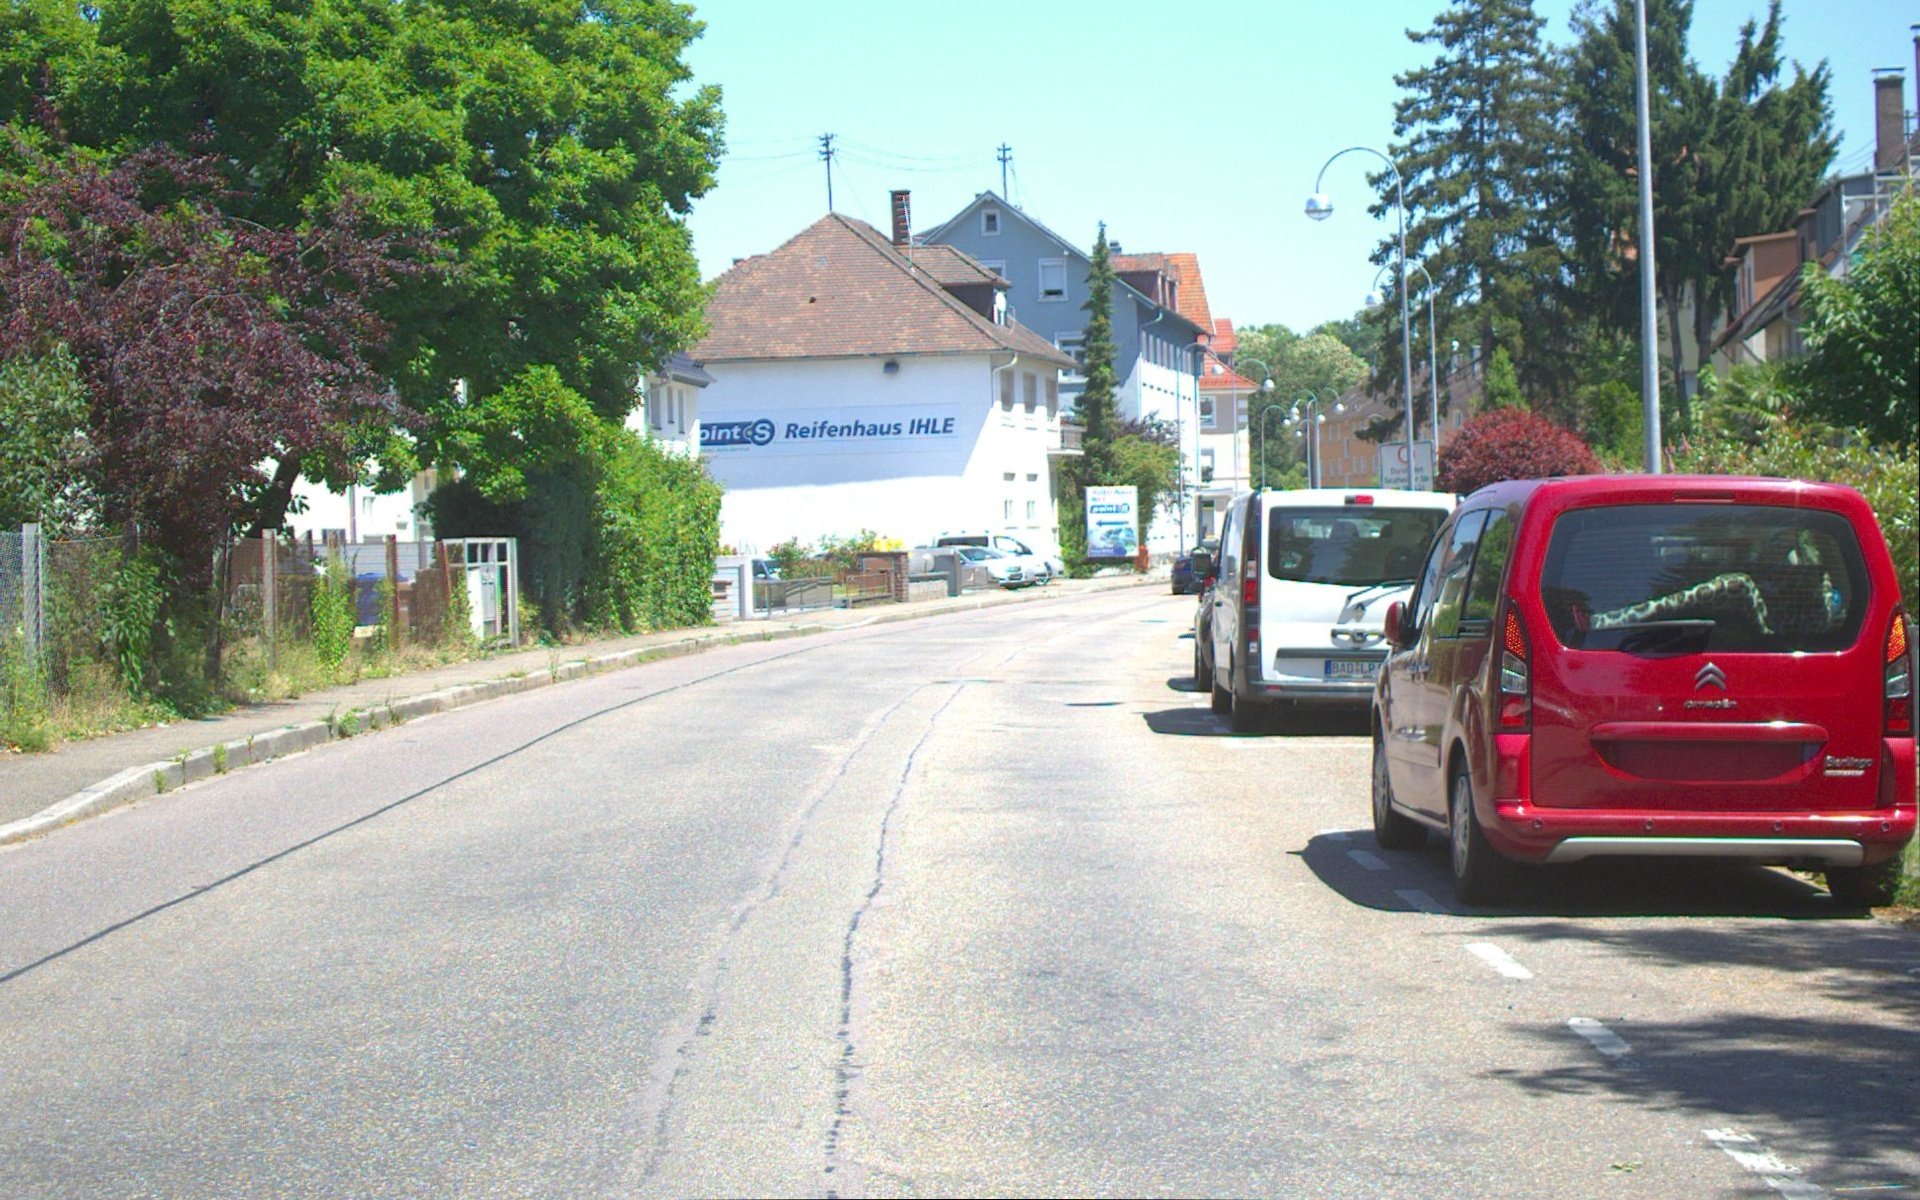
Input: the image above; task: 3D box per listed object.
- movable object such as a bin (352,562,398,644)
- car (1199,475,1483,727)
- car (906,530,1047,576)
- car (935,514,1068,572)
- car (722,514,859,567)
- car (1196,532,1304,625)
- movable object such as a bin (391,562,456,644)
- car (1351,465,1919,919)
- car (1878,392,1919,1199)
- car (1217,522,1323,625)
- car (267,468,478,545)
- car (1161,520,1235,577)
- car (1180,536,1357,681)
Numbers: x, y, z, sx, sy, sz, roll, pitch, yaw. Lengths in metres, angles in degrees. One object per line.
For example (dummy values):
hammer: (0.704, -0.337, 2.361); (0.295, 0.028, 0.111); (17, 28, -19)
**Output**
movable object such as a bin: (-7.321, 0.036, 43.012); (0.467, 1.006, 0.506); (0, 1, 2)
car: (3.097, -0.049, 28.830); (1.903, 1.918, 4.719); (-1, 1, 1)
car: (0.485, -1.450, 105.976); (4.139, 1.339, 1.906); (0, 2, 43)
car: (1.370, -1.850, 111.345); (4.129, 1.768, 1.828); (-1, 2, 5)
car: (-4.993, -1.756, 100.996); (1.795, 1.505, 3.998); (-3, 3, -45)
car: (4.796, -0.385, 56.517); (1.664, 1.449, 3.999); (0, 2, 6)
movable object such as a bin: (-6.608, 0.033, 42.385); (0.708, 0.993, 0.474); (-1, 1, 0)
car: (2.938, 0.317, 15.398); (1.903, 1.722, 4.391); (1, 1, 1)
car: (2.970, 0.484, 5.511); (1.746, 1.776, 4.543); (1, 1, 0)
car: (5.572, -0.474, 61.510); (1.664, 1.749, 3.999); (1, 1, 8)
car: (-11.797, -1.870, 69.188); (3.986, 1.505, 1.800); (0, 1, -2)
car: (6.565, -1.432, 94.609); (1.795, 1.505, 3.999); (0, 1, 7)
car: (3.188, 0.048, 36.099); (1.656, 1.393, 4.000); (-1, 1, 3)
